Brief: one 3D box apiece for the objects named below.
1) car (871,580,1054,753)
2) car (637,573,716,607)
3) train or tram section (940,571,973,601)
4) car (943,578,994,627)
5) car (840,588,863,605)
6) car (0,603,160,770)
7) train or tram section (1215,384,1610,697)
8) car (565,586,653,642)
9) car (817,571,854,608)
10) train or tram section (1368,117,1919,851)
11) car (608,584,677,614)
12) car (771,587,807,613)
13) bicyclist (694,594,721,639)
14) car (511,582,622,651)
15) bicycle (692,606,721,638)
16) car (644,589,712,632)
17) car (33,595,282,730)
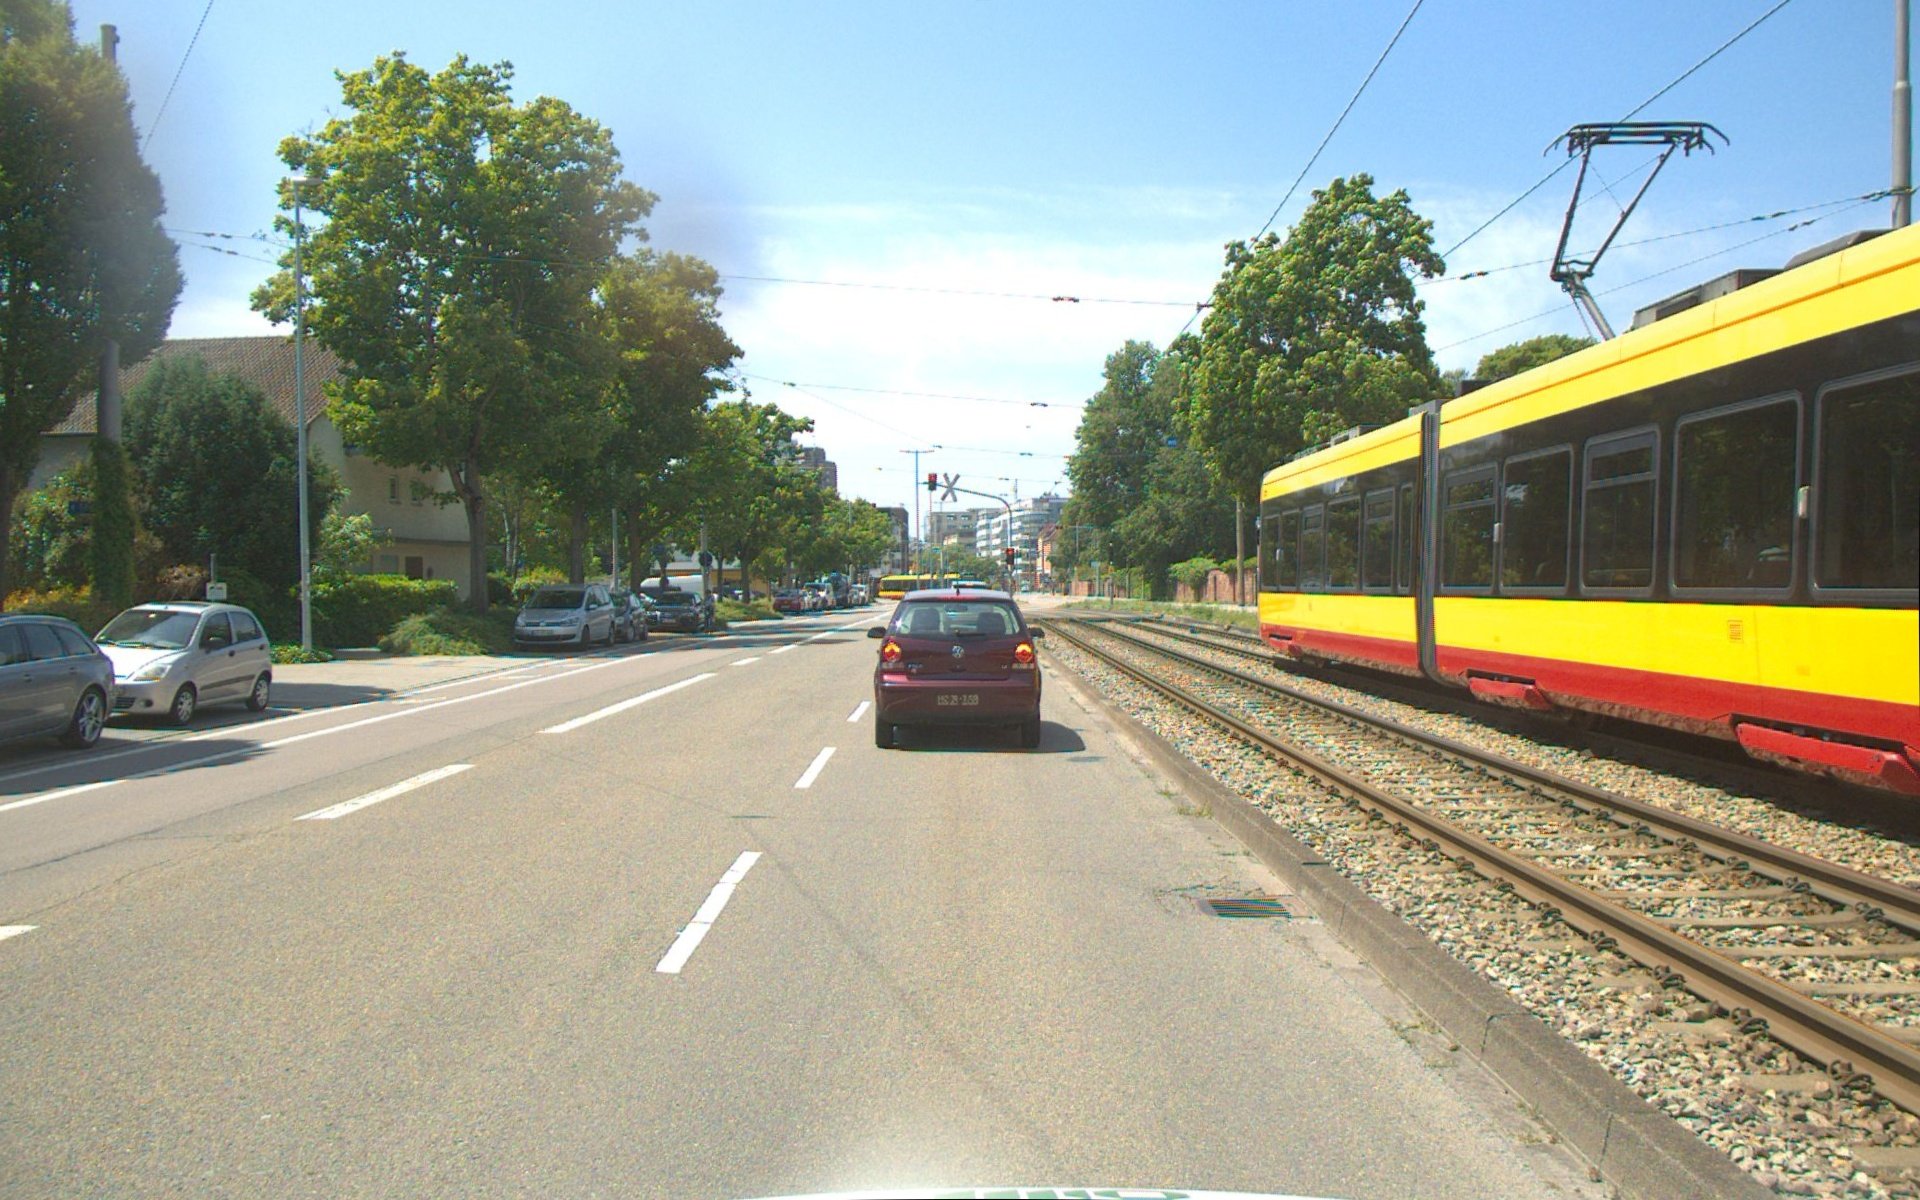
[{"bbox_3d":[-0.004,0.577,16.922,1.638,1.548,3.999,1,1,-1],"label":"car"},{"bbox_3d":[-19.767,-0.669,115.525,4.992,2.284,2.378,1,0,1],"label":"car"},{"bbox_3d":[-0.505,-1.832,212.089,2.689,3.672,12.851,1,1,-7],"label":"train or tram section"},{"bbox_3d":[0.283,0.052,59.186,1.741,1.676,3.999,1,1,-1],"label":"car"},{"bbox_3d":[-9.588,-0.328,146.221,1.580,1.466,4.002,1,0,3],"label":"car"},{"bbox_3d":[-10.364,0.885,17.066,1.751,1.475,5.132,3,1,-1],"label":"car"},{"bbox_3d":[6.640,-0.811,27.056,2.966,3.864,12.760,-1,1,0],"label":"train or tram section"},{"bbox_3d":[-10.422,0.387,49.381,1.781,1.592,4.181,1,1,-1],"label":"car"},{"bbox_3d":[-9.667,-0.797,128.739,2.313,2.739,5.308,1,0,1],"label":"car"},{"bbox_3d":[6.564,-0.681,14.043,2.966,3.864,13.090,-1,1,0],"label":"train or tram section"},{"bbox_3d":[-20.119,-0.048,104.913,3.906,1.776,1.998,-2,0,-1],"label":"car"},{"bbox_3d":[-10.217,0.015,98.905,1.628,1.523,4.001,1,0,2],"label":"car"},{"bbox_3d":[-8.578,0.543,56.185,0.720,1.455,1.124,-4,0,-3],"label":"bicyclist"},{"bbox_3d":[-10.425,0.390,44.143,1.834,1.693,4.780,0,1,0],"label":"car"},{"bbox_3d":[-8.596,0.748,56.147,0.688,0.967,2.242,-3,1,-3],"label":"bicycle"},{"bbox_3d":[-10.383,0.362,61.154,1.781,1.502,4.449,1,1,-1],"label":"car"},{"bbox_3d":[-10.575,0.767,22.066,1.561,1.521,3.448,4,1,0],"label":"car"}]
